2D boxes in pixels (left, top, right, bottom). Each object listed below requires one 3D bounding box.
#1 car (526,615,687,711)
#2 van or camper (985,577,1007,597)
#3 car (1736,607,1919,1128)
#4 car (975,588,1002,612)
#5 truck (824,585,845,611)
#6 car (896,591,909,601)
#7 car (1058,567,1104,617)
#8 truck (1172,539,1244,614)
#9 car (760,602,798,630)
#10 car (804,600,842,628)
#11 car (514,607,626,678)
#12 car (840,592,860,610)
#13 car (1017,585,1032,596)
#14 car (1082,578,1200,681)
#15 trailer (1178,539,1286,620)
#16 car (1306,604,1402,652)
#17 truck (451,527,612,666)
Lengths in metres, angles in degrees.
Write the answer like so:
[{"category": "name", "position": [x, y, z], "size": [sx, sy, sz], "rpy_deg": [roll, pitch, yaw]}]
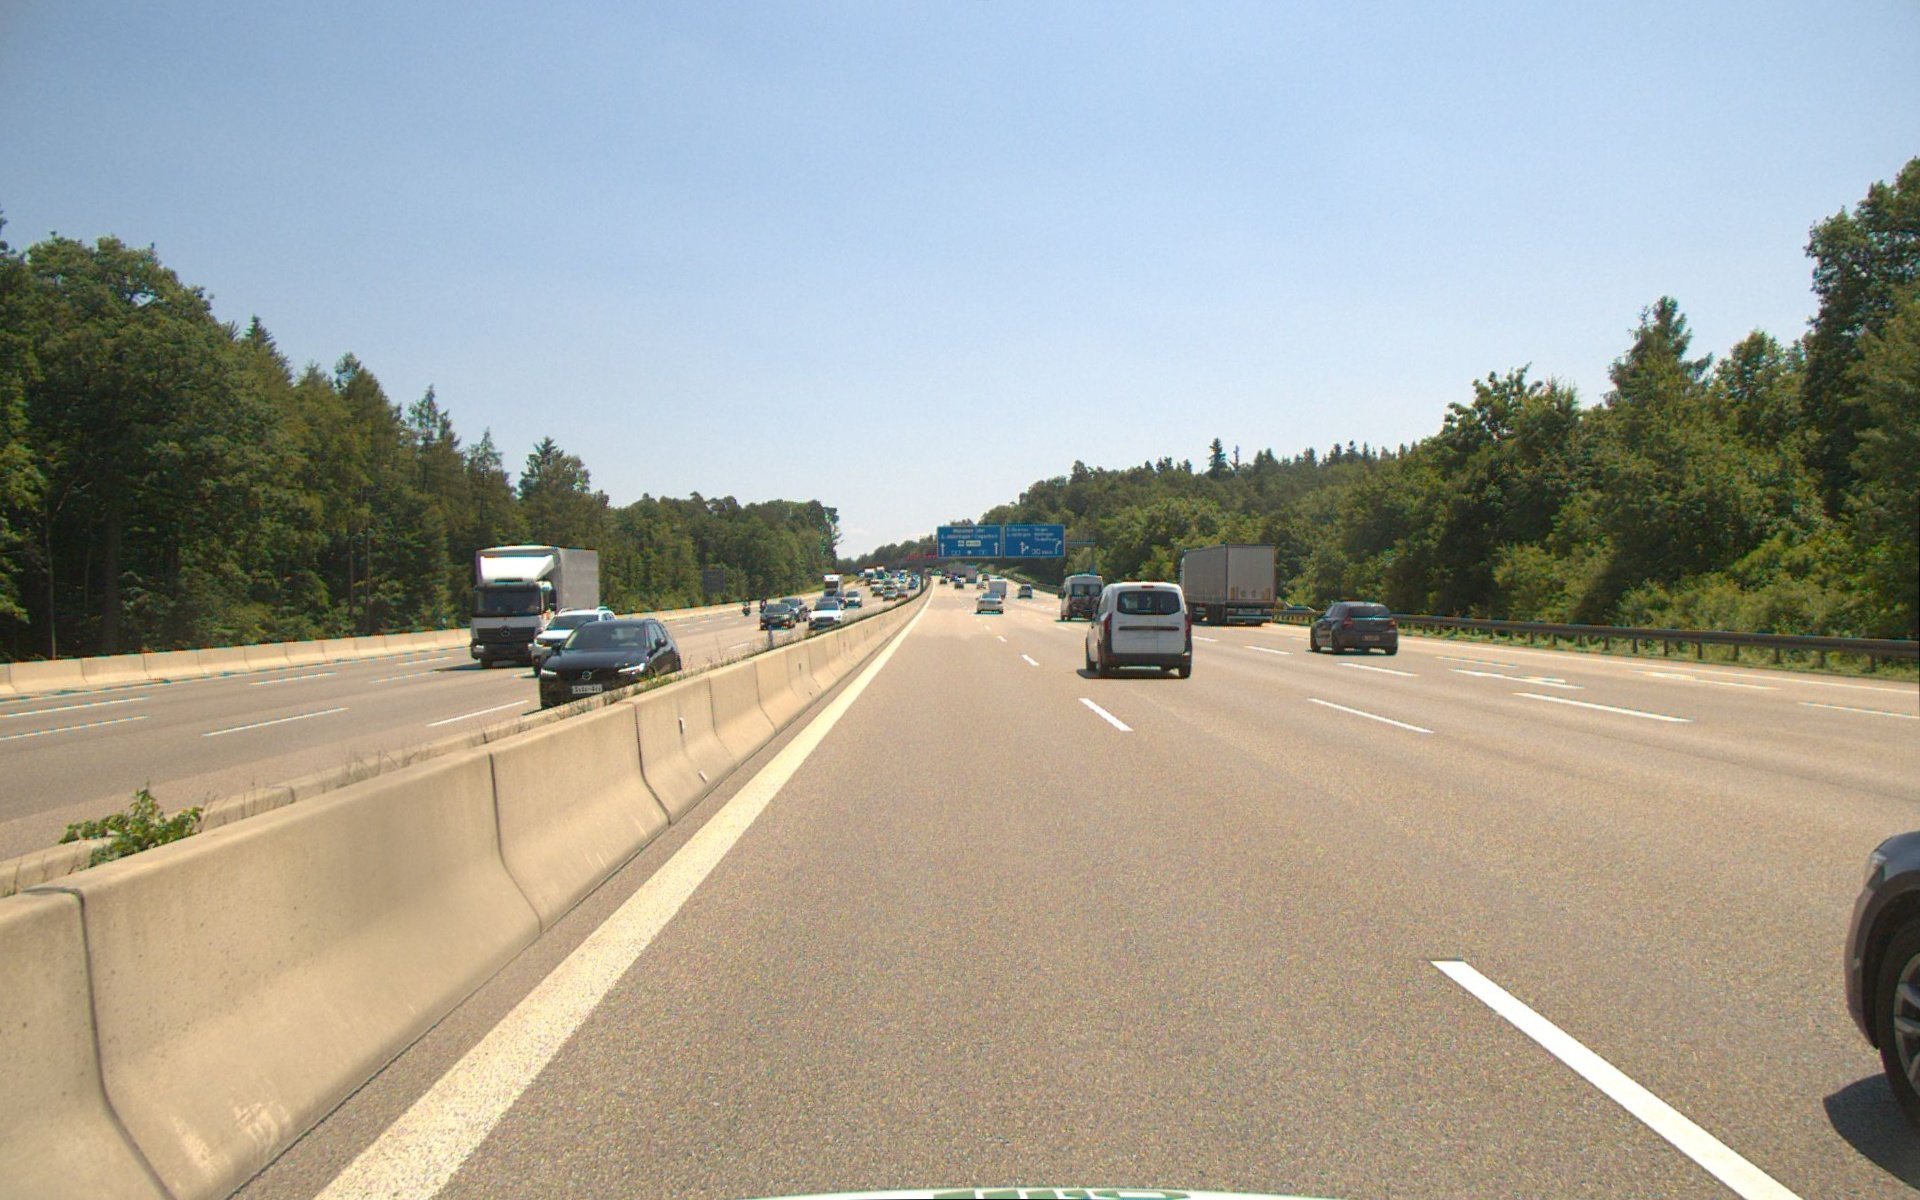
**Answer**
[{"category": "car", "position": [-6.010, 1.029, 28.613], "size": [1.874, 1.490, 4.362], "rpy_deg": [-1, -1, -1]}, {"category": "van or camper", "position": [4.811, -1.770, 221.309], "size": [2.591, 2.583, 6.501], "rpy_deg": [-1, 0, -1]}, {"category": "car", "position": [3.584, 0.774, 3.360], "size": [1.694, 1.472, 4.961], "rpy_deg": [0, 0, 0]}, {"category": "car", "position": [2.009, 0.012, 118.383], "size": [1.805, 1.657, 4.553], "rpy_deg": [-2, 0, 0]}, {"category": "truck", "position": [-19.680, -0.351, 259.946], "size": [2.664, 4.008, 10.234], "rpy_deg": [-1, 0, -1]}, {"category": "car", "position": [-8.100, -0.560, 234.069], "size": [1.717, 1.401, 4.490], "rpy_deg": [-2, 0, -1]}, {"category": "car", "position": [6.789, -0.477, 93.268], "size": [2.100, 2.698, 5.709], "rpy_deg": [0, 1, -1]}, {"category": "truck", "position": [14.302, -1.350, 95.931], "size": [3.188, 4.178, 5.987], "rpy_deg": [0, 1, -1]}, {"category": "car", "position": [-10.188, 0.871, 93.465], "size": [1.668, 1.452, 4.612], "rpy_deg": [-2, 0, -1]}, {"category": "car", "position": [-7.269, 0.733, 88.228], "size": [1.788, 1.419, 4.463], "rpy_deg": [-2, 0, -2]}, {"category": "car", "position": [-10.269, 1.079, 43.904], "size": [1.874, 1.690, 4.688], "rpy_deg": [-2, 0, -1]}, {"category": "car", "position": [-11.732, 0.094, 176.809], "size": [1.931, 1.754, 4.507], "rpy_deg": [3, 0, -2]}, {"category": "car", "position": [8.619, -1.265, 221.115], "size": [1.798, 1.361, 3.642], "rpy_deg": [-2, 0, -1]}, {"category": "car", "position": [3.553, 0.542, 33.208], "size": [1.821, 1.857, 4.612], "rpy_deg": [-2, 0, 0]}, {"category": "trailer", "position": [14.438, -1.144, 89.045], "size": [3.221, 3.999, 13.888], "rpy_deg": [1, 1, -1]}, {"category": "car", "position": [10.930, 0.775, 46.138], "size": [1.636, 1.296, 4.289], "rpy_deg": [0, -1, -1]}, {"category": "truck", "position": [-13.802, -0.109, 54.137], "size": [2.800, 4.083, 9.466], "rpy_deg": [-1, 0, -1]}]
